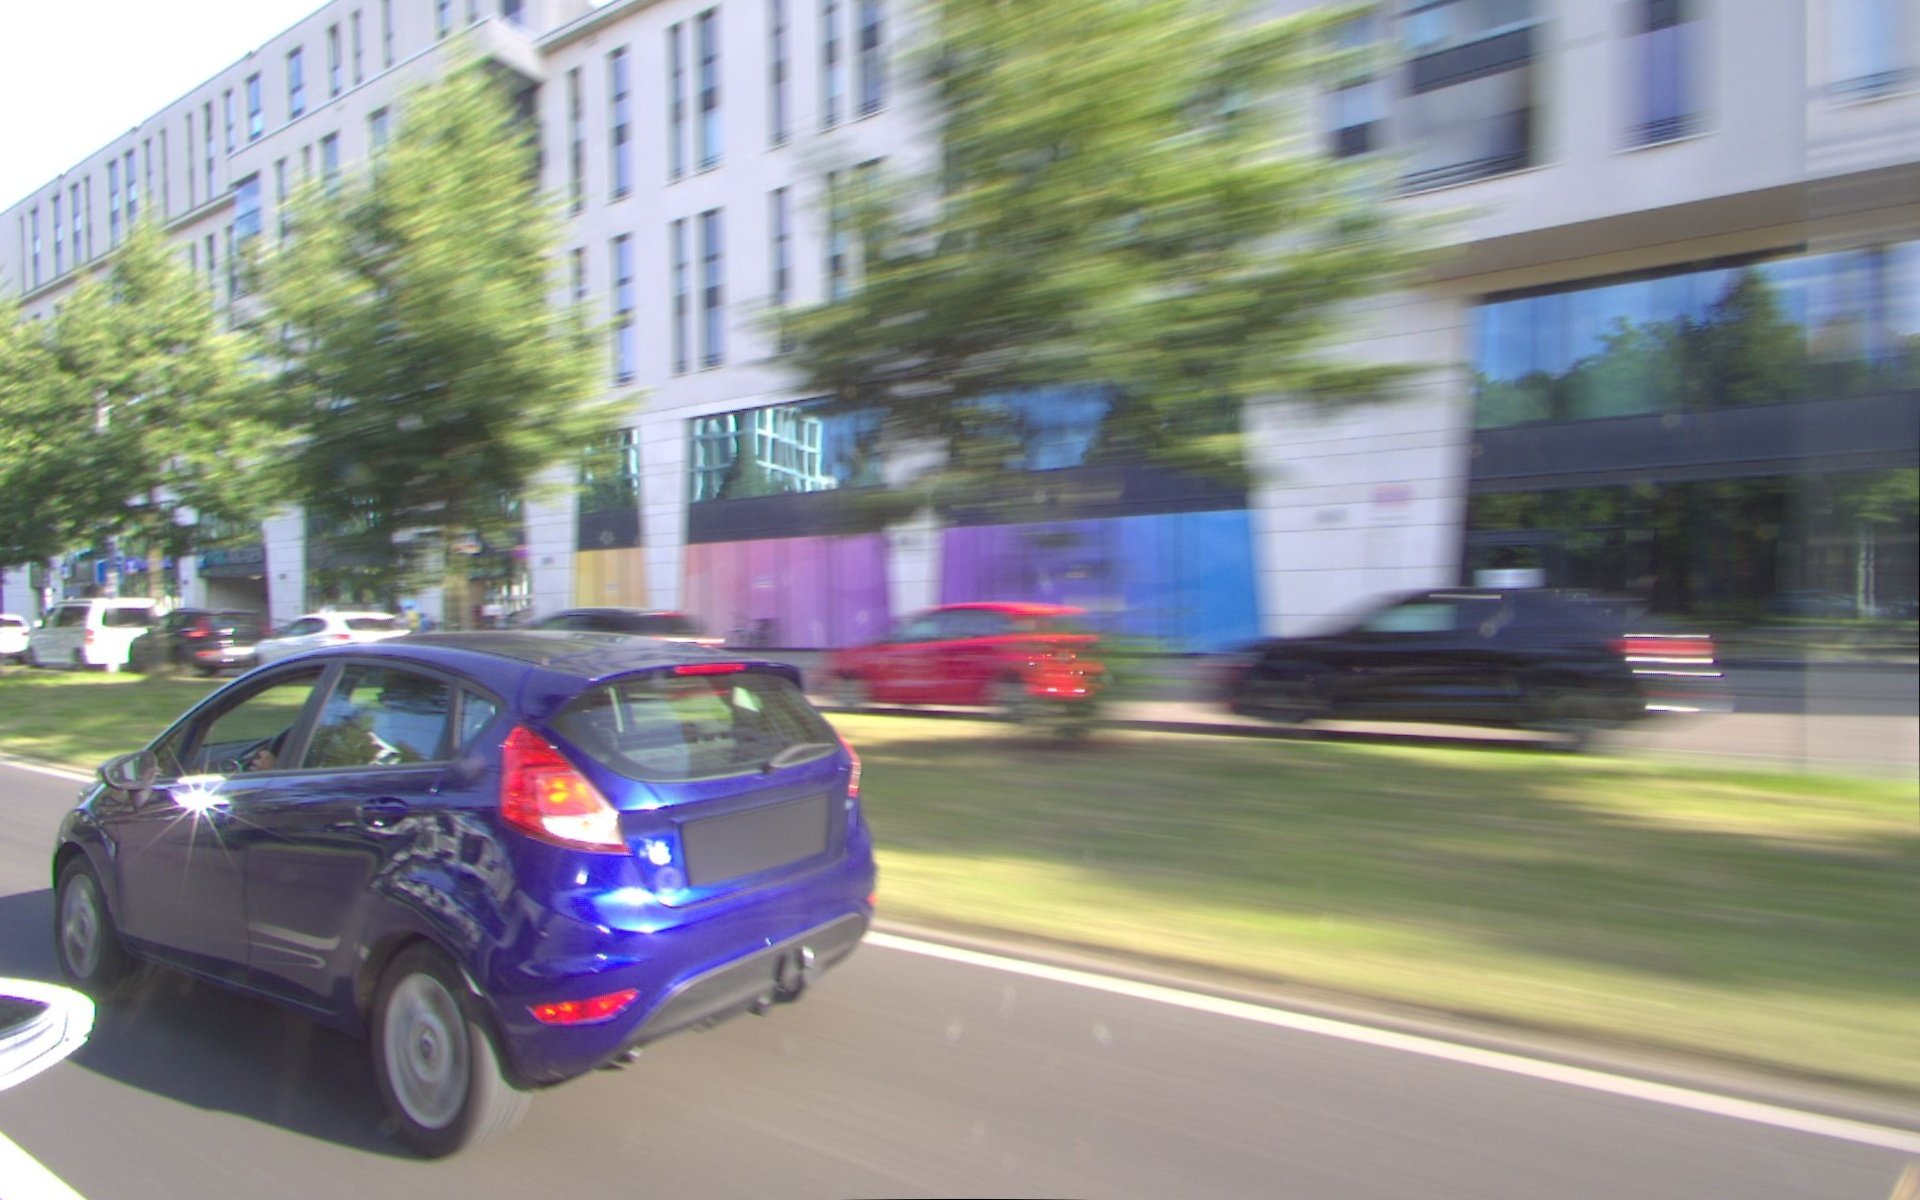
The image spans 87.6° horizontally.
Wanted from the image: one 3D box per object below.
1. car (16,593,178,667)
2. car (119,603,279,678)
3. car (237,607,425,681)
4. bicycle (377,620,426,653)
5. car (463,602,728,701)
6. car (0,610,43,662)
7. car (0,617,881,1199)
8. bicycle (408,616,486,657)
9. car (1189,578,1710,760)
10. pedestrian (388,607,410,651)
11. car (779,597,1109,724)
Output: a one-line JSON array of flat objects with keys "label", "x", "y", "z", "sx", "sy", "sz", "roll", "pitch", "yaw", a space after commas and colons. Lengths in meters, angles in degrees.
[{"label": "car", "x": -24.040, "y": 0.864, "z": 27.870, "sx": 4.955, "sy": 1.900, "sz": 1.836, "roll": -1, "pitch": -2, "yaw": 29}, {"label": "car", "x": -18.536, "y": 0.979, "z": 24.347, "sx": 4.278, "sy": 1.671, "sz": 1.725, "roll": -2, "pitch": -2, "yaw": 33}, {"label": "car", "x": -13.324, "y": 0.919, "z": 21.162, "sx": 4.105, "sy": 1.430, "sz": 1.615, "roll": -1, "pitch": -2, "yaw": 29}, {"label": "bicycle", "x": -18.244, "y": 1.183, "z": 32.685, "sx": 2.015, "sy": 1.014, "sz": 0.417, "roll": -1, "pitch": 3, "yaw": 33}, {"label": "car", "x": -6.139, "y": 0.838, "z": 16.676, "sx": 4.656, "sy": 1.450, "sz": 1.725, "roll": -2, "pitch": -2, "yaw": 33}, {"label": "car", "x": -32.646, "y": 1.176, "z": 33.305, "sx": 4.777, "sy": 1.651, "sz": 1.728, "roll": -1, "pitch": 0, "yaw": 29}, {"label": "car", "x": -2.336, "y": 0.832, "z": 4.131, "sx": 3.851, "sy": 1.442, "sz": 1.558, "roll": -1, "pitch": -2, "yaw": 32}, {"label": "bicycle", "x": -16.218, "y": 1.142, "z": 31.713, "sx": 2.086, "sy": 1.115, "sz": 0.416, "roll": -5, "pitch": 4, "yaw": -43}, {"label": "car", "x": 4.711, "y": 0.647, "z": 10.163, "sx": 4.346, "sy": 1.510, "sz": 1.867, "roll": -1, "pitch": -2, "yaw": 27}, {"label": "pedestrian", "x": -20.084, "y": 1.039, "z": 35.859, "sx": 0.587, "sy": 1.541, "sz": 0.514, "roll": 0, "pitch": -1, "yaw": -20}, {"label": "car", "x": -0.252, "y": 0.760, "z": 13.172, "sx": 4.052, "sy": 1.450, "sz": 1.727, "roll": -1, "pitch": -2, "yaw": 29}]
